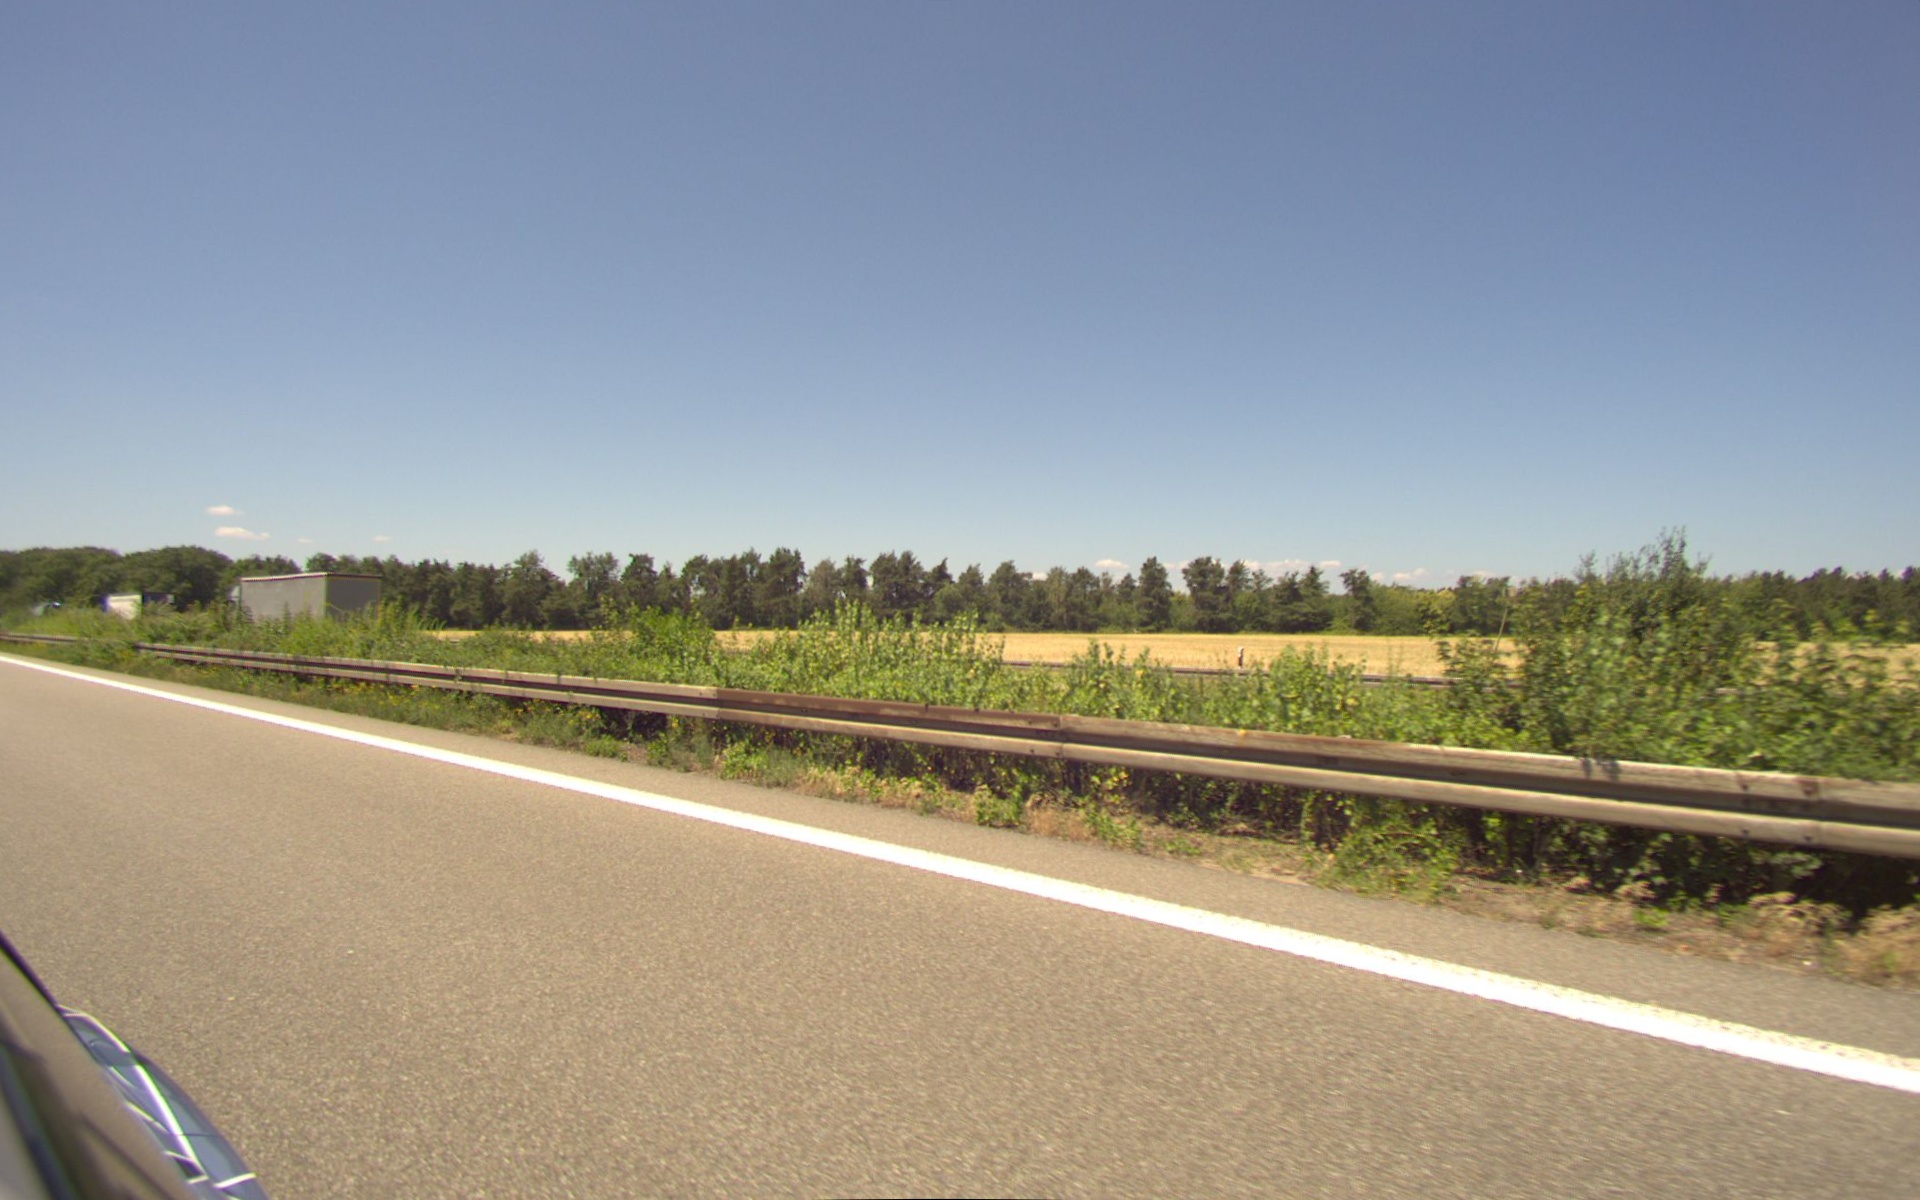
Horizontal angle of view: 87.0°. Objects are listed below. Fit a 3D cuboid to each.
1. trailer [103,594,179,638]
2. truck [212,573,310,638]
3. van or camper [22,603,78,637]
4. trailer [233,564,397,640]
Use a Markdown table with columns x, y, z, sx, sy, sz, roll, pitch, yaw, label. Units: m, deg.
| x | y | z | sx | sy | sz | roll | pitch | yaw | label |
| --- | --- | --- | --- | --- | --- | --- | --- | --- | --- |
| -74.681 | 1.489 | 92.079 | 14.377 | 3.726 | 3.077 | -1 | 0 | 42 | trailer |
| -42.036 | 0.350 | 60.821 | 6.059 | 3.726 | 3.316 | -1 | 0 | 40 | truck |
| -88.195 | 1.921 | 97.999 | 11.505 | 3.125 | 2.583 | -1 | -2 | 41 | van or camper |
| -35.645 | 0.204 | 55.509 | 14.368 | 3.726 | 3.316 | -1 | 0 | 40 | trailer |
